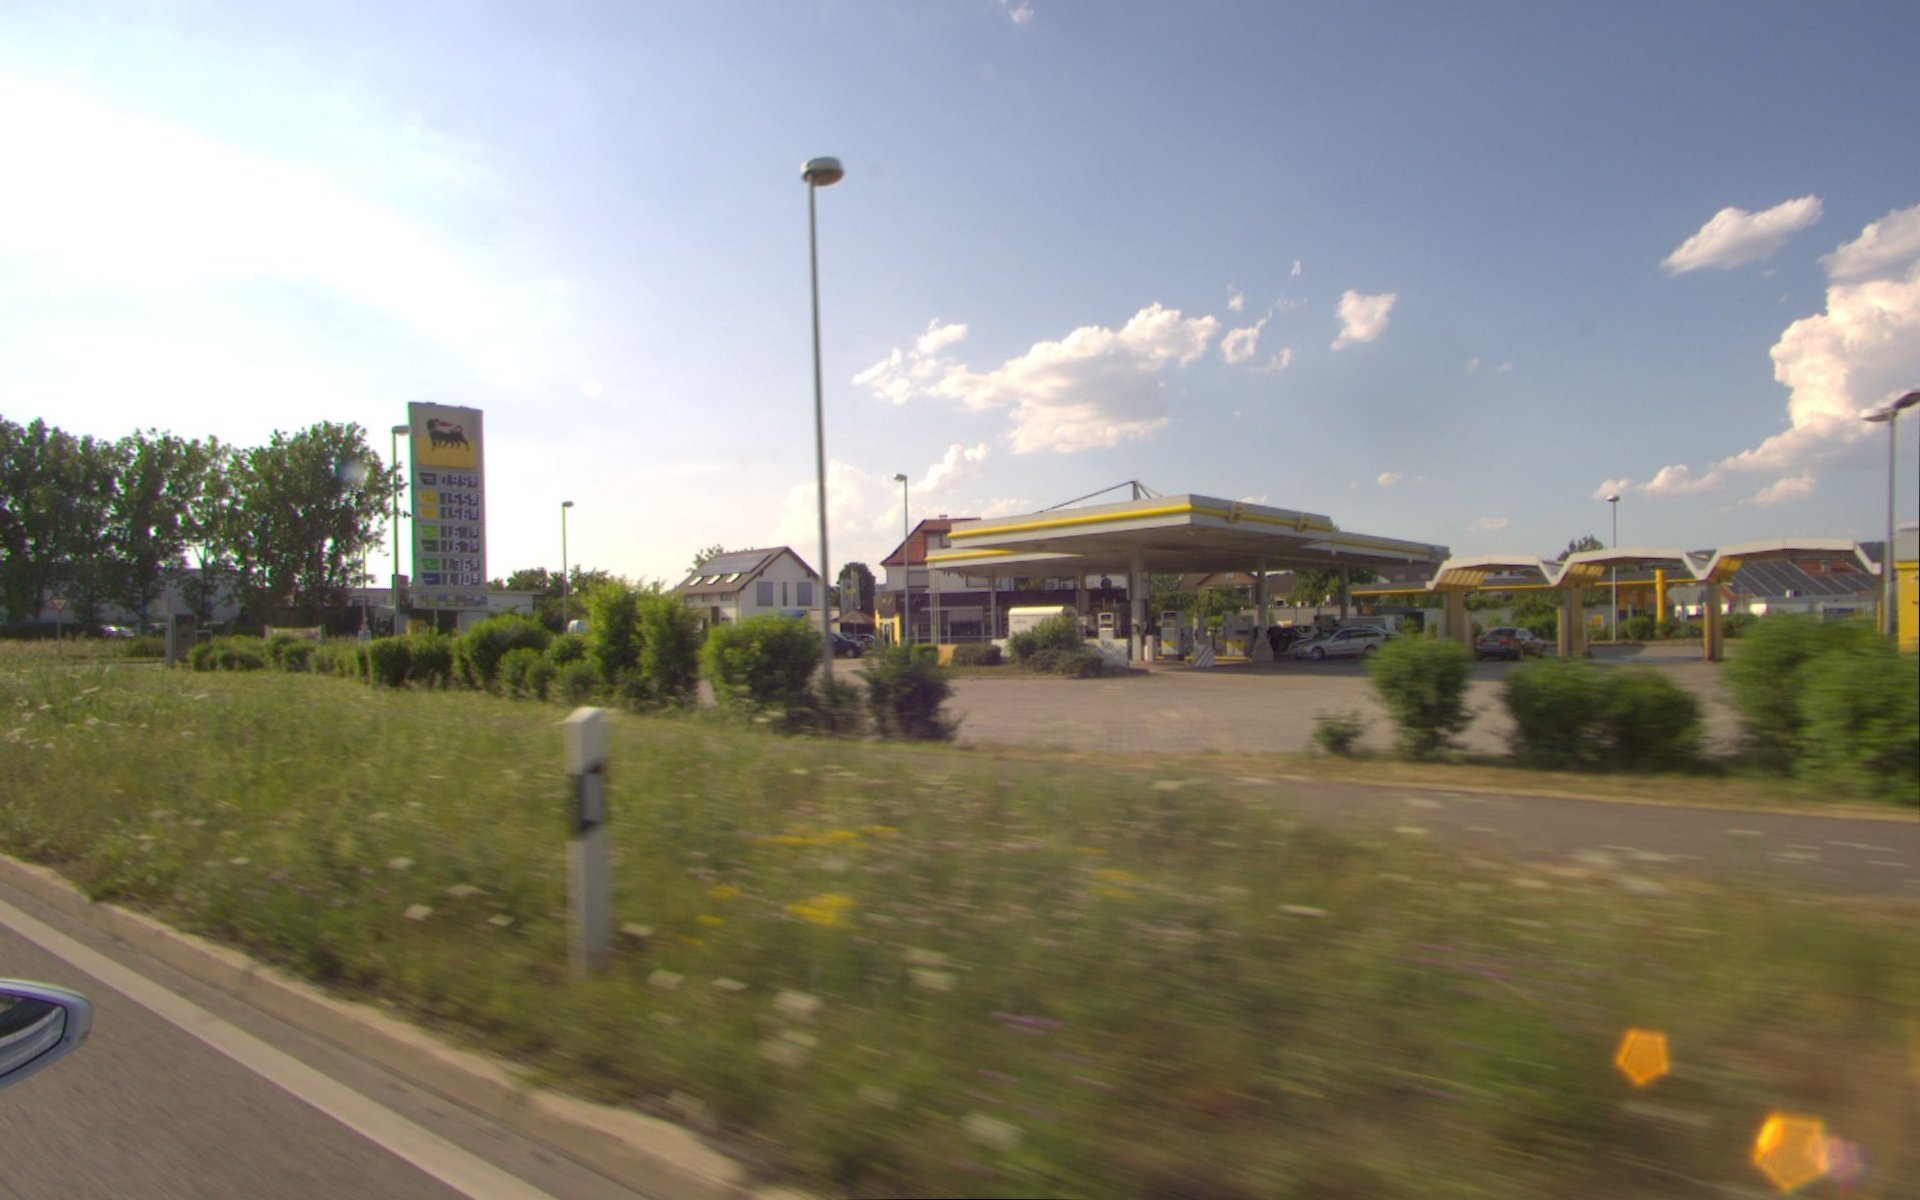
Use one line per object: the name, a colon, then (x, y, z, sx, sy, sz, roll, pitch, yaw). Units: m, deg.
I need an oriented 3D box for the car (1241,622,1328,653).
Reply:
car: (18.166, 2.134, 56.200, 1.787, 1.557, 4.303, 4, -5, -43)

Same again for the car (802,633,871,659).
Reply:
car: (-8.347, 3.127, 67.675, 4.336, 1.654, 1.852, 0, -3, 6)

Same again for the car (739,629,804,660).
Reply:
car: (-12.899, 3.068, 68.767, 4.010, 2.038, 1.771, 0, -4, 9)

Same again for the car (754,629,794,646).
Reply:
car: (-16.295, 3.302, 87.883, 1.819, 1.410, 3.591, -1, -4, 22)

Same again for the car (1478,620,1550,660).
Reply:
car: (23.940, 1.771, 43.207, 1.784, 1.557, 4.309, -3, -5, 42)

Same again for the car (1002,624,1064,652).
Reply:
car: (4.547, 2.388, 62.731, 3.820, 1.740, 1.757, 0, -2, 1)

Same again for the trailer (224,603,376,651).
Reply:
trailer: (-57.075, 2.389, 86.560, 13.467, 3.963, 2.250, -1, -3, 13)

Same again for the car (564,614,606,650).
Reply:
car: (-29.364, 2.547, 78.304, 2.203, 2.549, 6.793, 1, -4, -27)

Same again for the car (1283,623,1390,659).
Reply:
car: (17.264, 1.909, 45.958, 4.261, 1.557, 1.804, 1, -4, -9)

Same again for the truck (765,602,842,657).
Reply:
truck: (-11.412, 2.296, 74.081, 2.716, 3.733, 8.011, -1, -4, 14)

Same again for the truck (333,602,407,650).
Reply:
truck: (-50.047, 2.279, 85.032, 5.020, 3.963, 2.252, -1, -3, 8)
